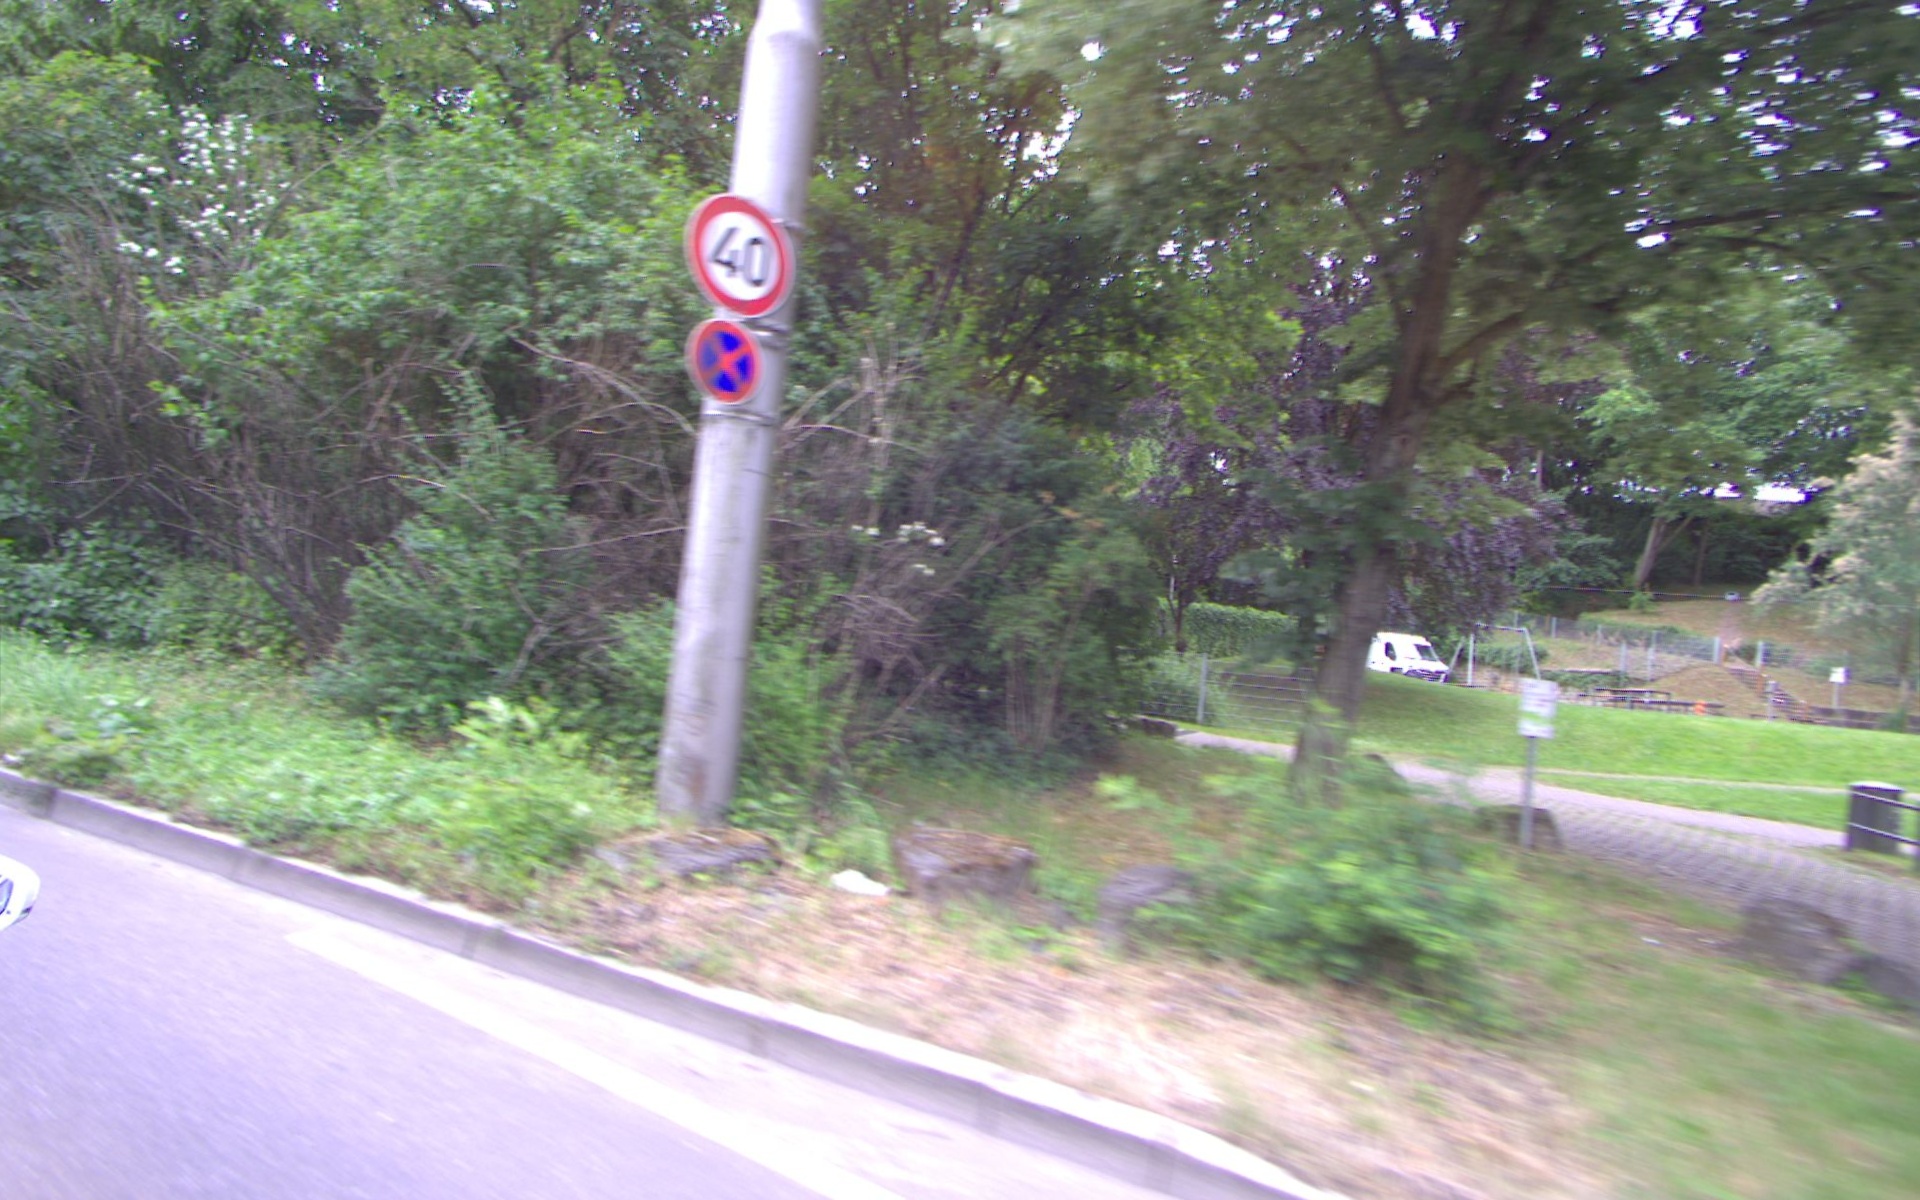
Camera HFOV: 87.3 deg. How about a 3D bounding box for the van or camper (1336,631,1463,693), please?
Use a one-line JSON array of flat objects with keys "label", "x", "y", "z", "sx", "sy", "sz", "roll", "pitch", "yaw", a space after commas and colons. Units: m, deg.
[{"label": "van or camper", "x": 18.582, "y": 2.568, "z": 42.900, "sx": 2.271, "sy": 2.038, "sz": 5.434, "roll": 7, "pitch": 0, "yaw": -7}]
